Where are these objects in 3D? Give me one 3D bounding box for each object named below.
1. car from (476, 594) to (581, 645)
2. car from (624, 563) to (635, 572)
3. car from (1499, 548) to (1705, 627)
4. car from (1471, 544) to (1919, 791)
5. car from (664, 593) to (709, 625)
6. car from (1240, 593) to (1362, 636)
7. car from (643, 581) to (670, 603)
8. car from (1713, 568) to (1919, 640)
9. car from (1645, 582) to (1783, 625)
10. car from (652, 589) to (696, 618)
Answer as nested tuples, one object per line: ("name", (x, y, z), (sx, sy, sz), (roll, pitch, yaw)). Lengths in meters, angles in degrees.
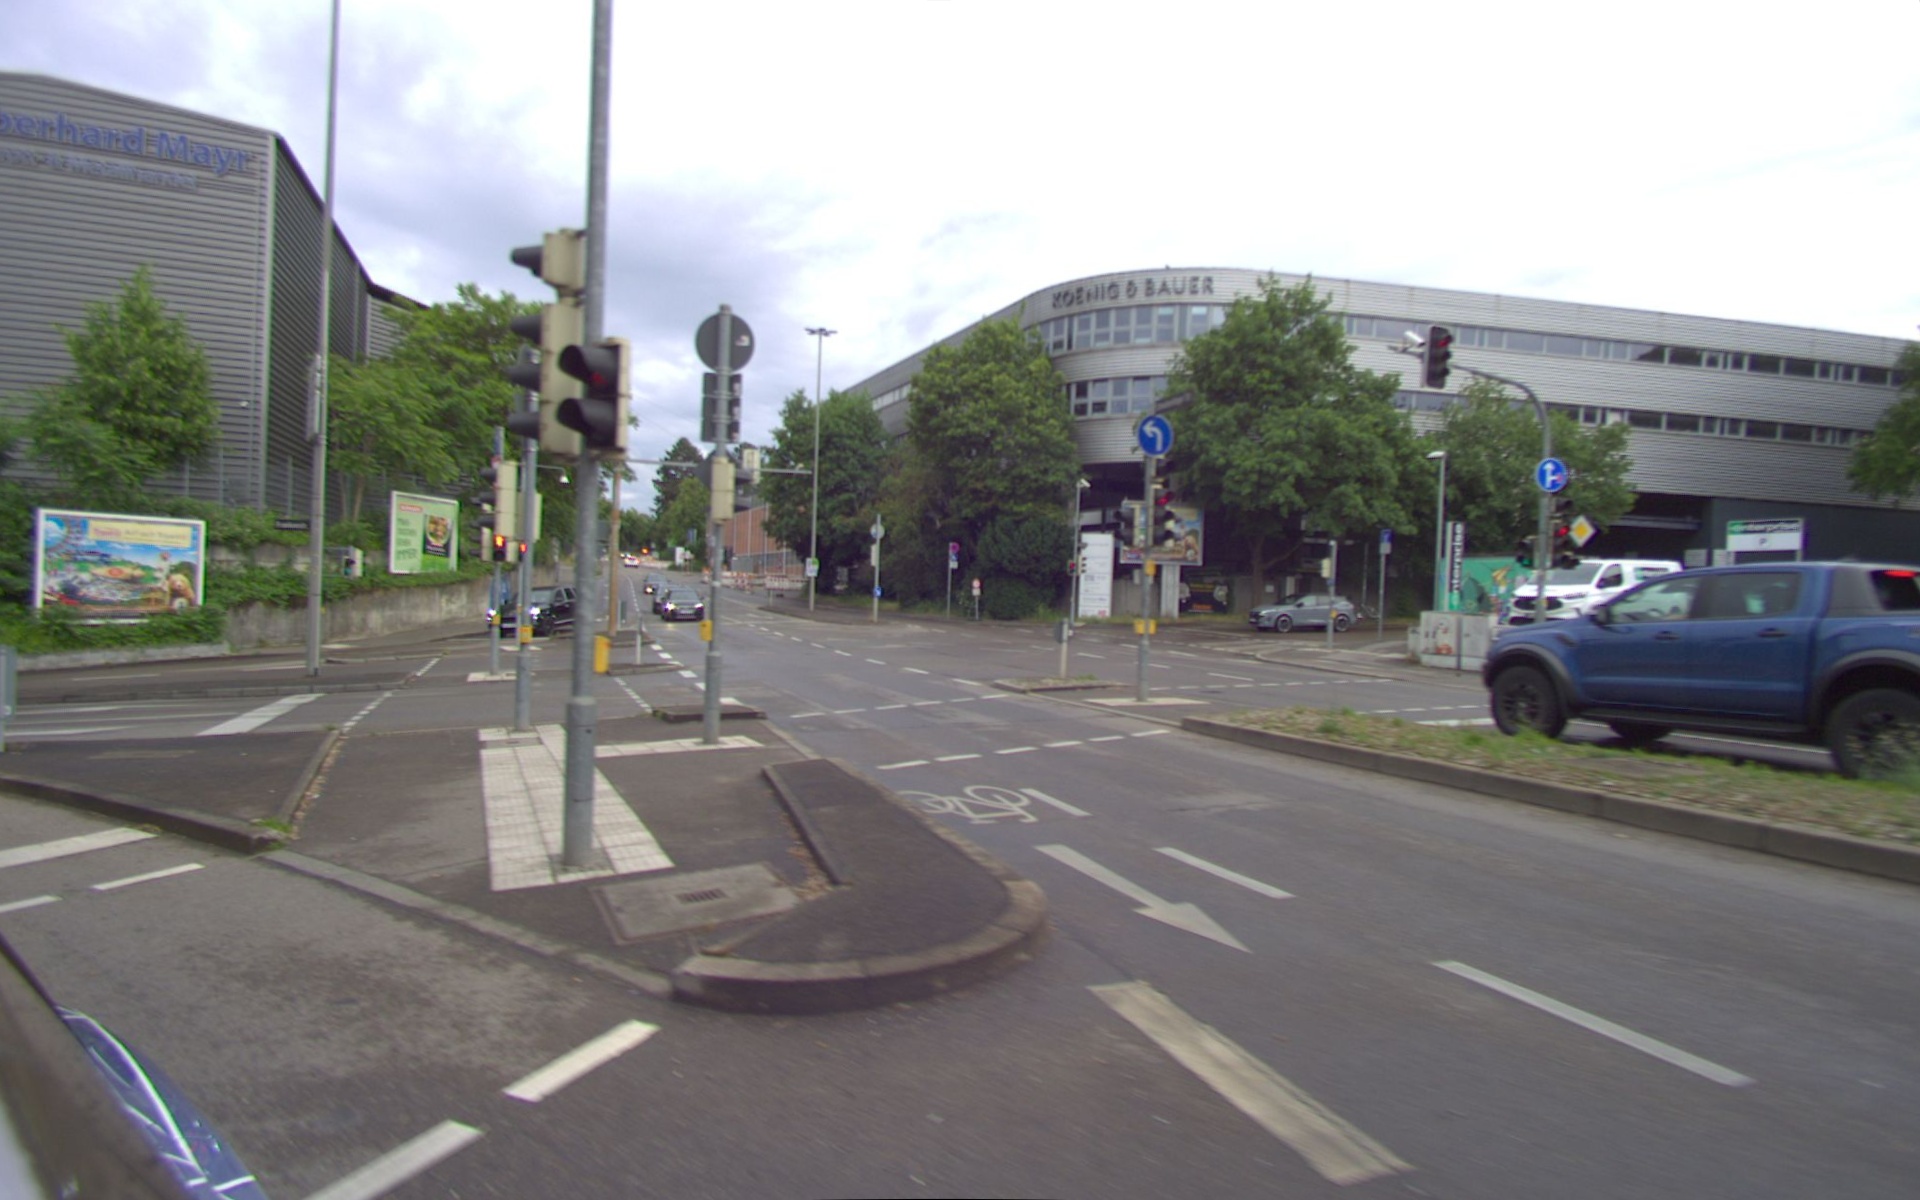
("car", (-15.191, 0.623, 35.908), (1.926, 1.555, 4.212), (-2, 2, 0))
("car", (-48.690, -4.791, 149.197), (1.508, 1.324, 3.241), (1, 0, -18))
("car", (16.599, -0.284, 26.130), (5.280, 1.815, 2.227), (1, 0, -29))
("car", (7.505, 0.535, 9.157), (1.906, 1.832, 5.187), (1, -1, -21))
("car", (-12.178, 0.359, 45.260), (1.572, 1.269, 3.765), (-2, 2, -10))
("car", (14.183, 0.571, 42.213), (4.311, 1.612, 2.039), (-2, 1, -9))
("car", (-22.738, -0.599, 75.812), (1.708, 1.589, 3.722), (1, 0, -20))
("car", (18.178, 0.056, 21.516), (3.560, 1.379, 1.879), (-2, 1, -22))
("car", (24.965, 0.094, 33.619), (1.547, 1.331, 3.308), (1, 0, -24))
("car", (-14.677, 0.153, 52.097), (1.725, 1.380, 3.765), (-2, 2, -10))
